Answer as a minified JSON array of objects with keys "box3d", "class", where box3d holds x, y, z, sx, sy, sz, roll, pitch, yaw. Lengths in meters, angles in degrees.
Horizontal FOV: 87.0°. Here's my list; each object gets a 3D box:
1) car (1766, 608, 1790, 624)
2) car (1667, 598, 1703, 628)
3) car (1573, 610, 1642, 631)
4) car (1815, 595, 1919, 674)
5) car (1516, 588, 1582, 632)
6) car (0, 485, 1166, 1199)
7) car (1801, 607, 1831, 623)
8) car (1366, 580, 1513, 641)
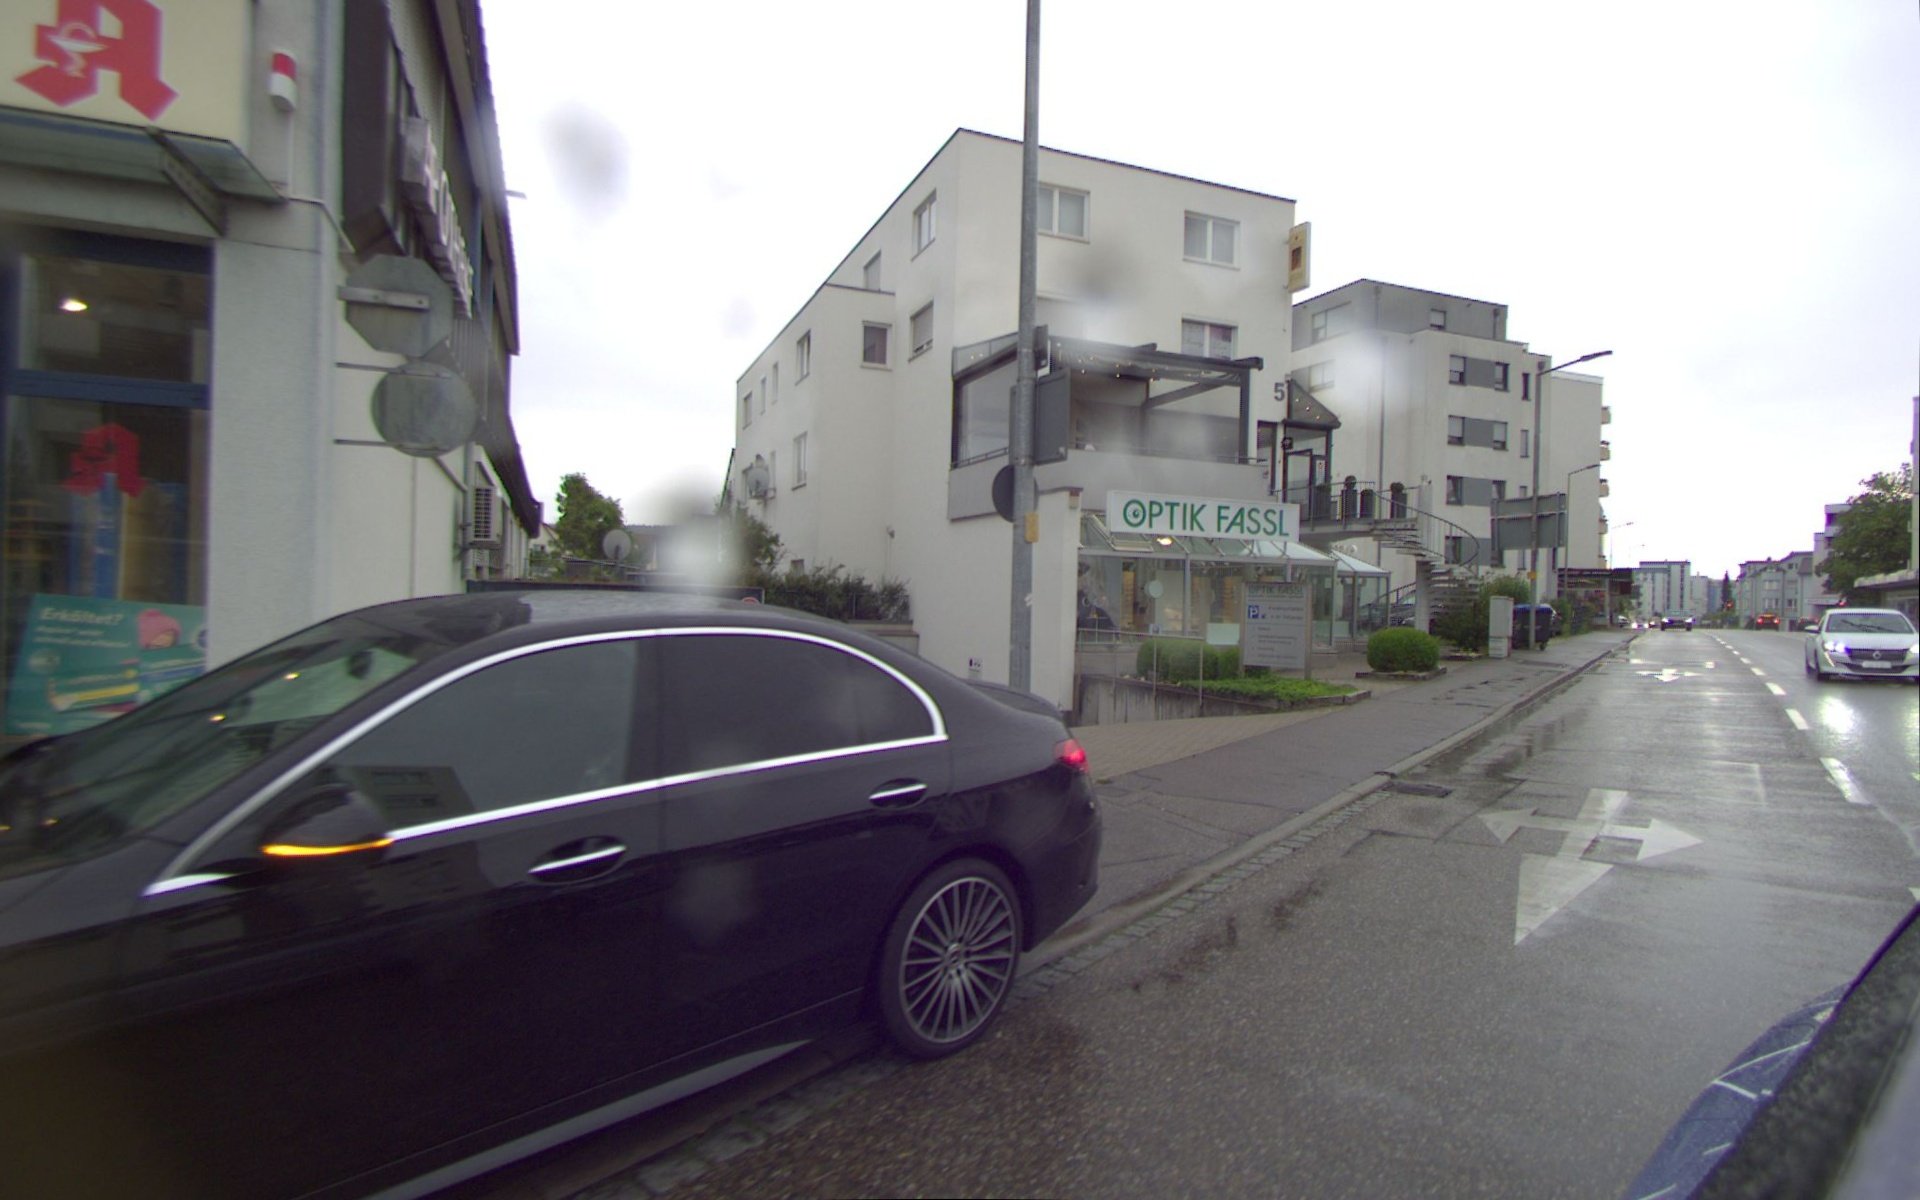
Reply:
[{"box3d":[82.208,1.620,101.707,1.800,1.577,4.256,1,-1,39],"class":"car"},{"box3d":[51.572,0.933,71.995,1.989,2.039,3.946,1,-1,37],"class":"car"},{"box3d":[51.254,1.618,80.180,1.834,1.513,4.277,3,-1,-26],"class":"car"},{"box3d":[18.797,0.704,20.832,1.823,1.458,4.280,0,-1,40],"class":"car"},{"box3d":[25.882,0.424,44.396,1.989,1.808,4.628,2,0,37],"class":"car"},{"box3d":[-1.531,0.594,3.120,4.569,1.553,1.995,1,-1,-43],"class":"car"},{"box3d":[84.002,1.484,99.398,1.692,1.426,3.951,5,1,33],"class":"car"},{"box3d":[17.145,0.374,36.192,4.678,2.039,2.004,1,0,-20],"class":"car"}]
